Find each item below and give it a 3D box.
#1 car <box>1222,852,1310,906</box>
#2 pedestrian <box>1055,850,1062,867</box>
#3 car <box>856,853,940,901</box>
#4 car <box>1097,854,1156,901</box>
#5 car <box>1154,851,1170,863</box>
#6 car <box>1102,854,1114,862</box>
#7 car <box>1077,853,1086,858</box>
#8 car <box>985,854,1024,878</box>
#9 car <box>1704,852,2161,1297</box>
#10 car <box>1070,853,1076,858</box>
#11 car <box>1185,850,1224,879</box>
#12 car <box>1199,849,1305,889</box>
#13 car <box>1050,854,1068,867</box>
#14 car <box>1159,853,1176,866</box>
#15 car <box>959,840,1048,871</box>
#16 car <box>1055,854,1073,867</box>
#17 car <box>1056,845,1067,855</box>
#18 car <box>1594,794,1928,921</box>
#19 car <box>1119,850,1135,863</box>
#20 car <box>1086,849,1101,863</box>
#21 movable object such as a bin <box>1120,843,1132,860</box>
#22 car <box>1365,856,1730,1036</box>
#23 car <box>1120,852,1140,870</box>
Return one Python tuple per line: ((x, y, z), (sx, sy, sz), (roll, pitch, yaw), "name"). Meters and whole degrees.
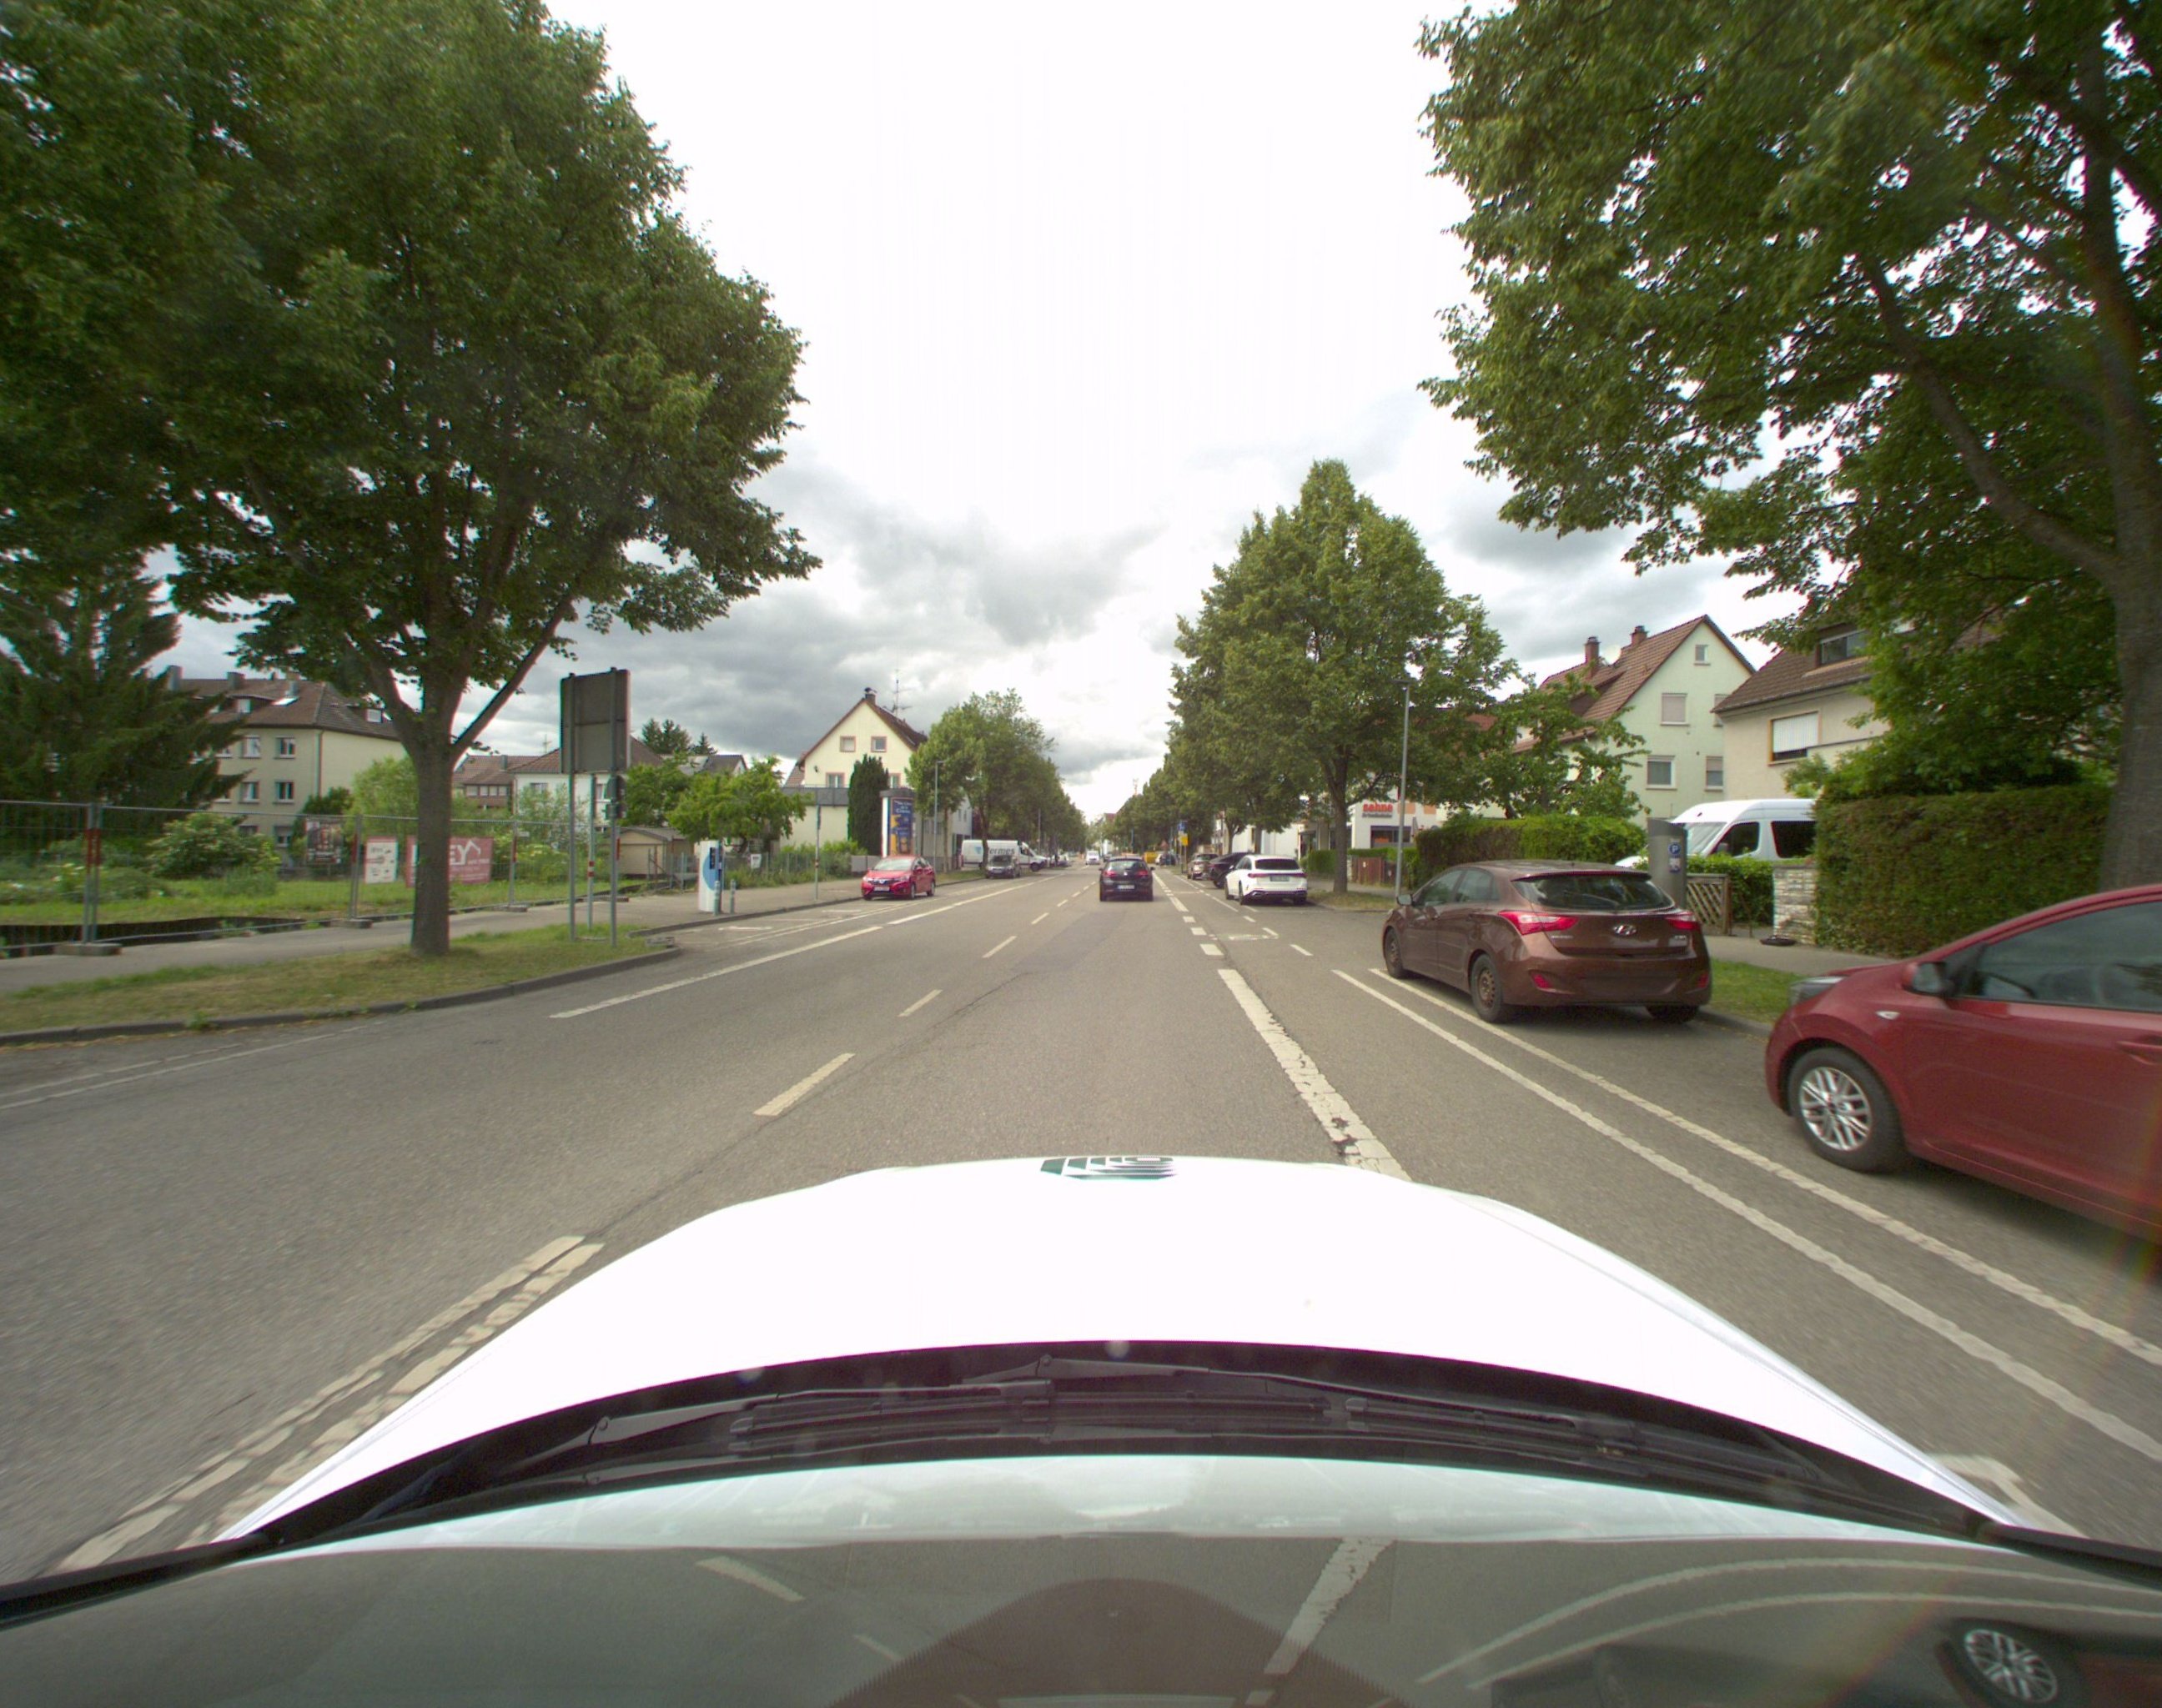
((5.565, 0.695, 25.073), (1.798, 1.475, 4.814), (0, 0, 2), "car")
((-2.249, 0.429, 80.759), (0.539, 1.681, 0.752), (2, 1, 12), "pedestrian")
((-6.352, 0.750, 28.716), (1.677, 1.541, 4.138), (0, 0, 5), "car")
((1.470, 0.727, 27.329), (1.812, 1.437, 3.741), (-1, 0, 1), "car")
((10.491, 0.409, 105.939), (1.666, 1.462, 4.000), (0, 0, 1), "car")
((4.424, 0.657, 134.431), (1.805, 1.375, 3.691), (0, 0, -2), "car")
((0.072, 0.389, 210.286), (1.809, 1.415, 3.683), (0, 0, -8), "car")
((-4.752, 0.727, 51.262), (1.723, 1.469, 4.307), (-1, 0, 4), "car")
((4.337, 0.725, 2.934), (1.558, 1.455, 3.672), (0, 0, 3), "car")
((-2.549, 0.410, 251.896), (1.805, 1.415, 3.690), (0, 0, -2), "car")
((7.067, 0.579, 47.014), (1.715, 1.580, 4.062), (0, 0, 1), "car")
((7.345, 0.619, 35.204), (4.206, 1.638, 1.692), (-1, 0, -2), "car")
((-2.409, 0.676, 89.034), (1.636, 1.420, 4.023), (-1, 0, 2), "car")
((10.139, 0.633, 96.167), (1.699, 1.454, 4.619), (0, 0, 2), "car")
((-6.527, 0.122, 69.246), (7.266, 2.594, 2.220), (0, 0, -1), "car")
((-1.950, 0.733, 95.671), (1.706, 1.406, 4.306), (0, 0, 5), "car")
((-4.299, -0.912, 178.146), (2.089, 2.175, 5.036), (0, 0, -5), "car")
((14.615, 0.059, 17.733), (5.697, 2.591, 1.997), (0, 1, -1), "car")
((5.916, 0.360, 105.030), (1.785, 1.623, 3.739), (-1, 0, 0), "car")
((1.761, 0.298, 112.444), (1.958, 1.830, 4.823), (0, 0, 3), "car")
((7.152, -0.373, 128.528), (1.762, 2.574, 3.741), (0, 0, 1), "movable object such as a bin")
((4.508, 0.754, 8.697), (1.646, 1.416, 4.180), (-1, 0, 3), "car")
((4.901, 0.678, 81.285), (1.897, 1.685, 3.744), (-1, 0, 4), "car")
